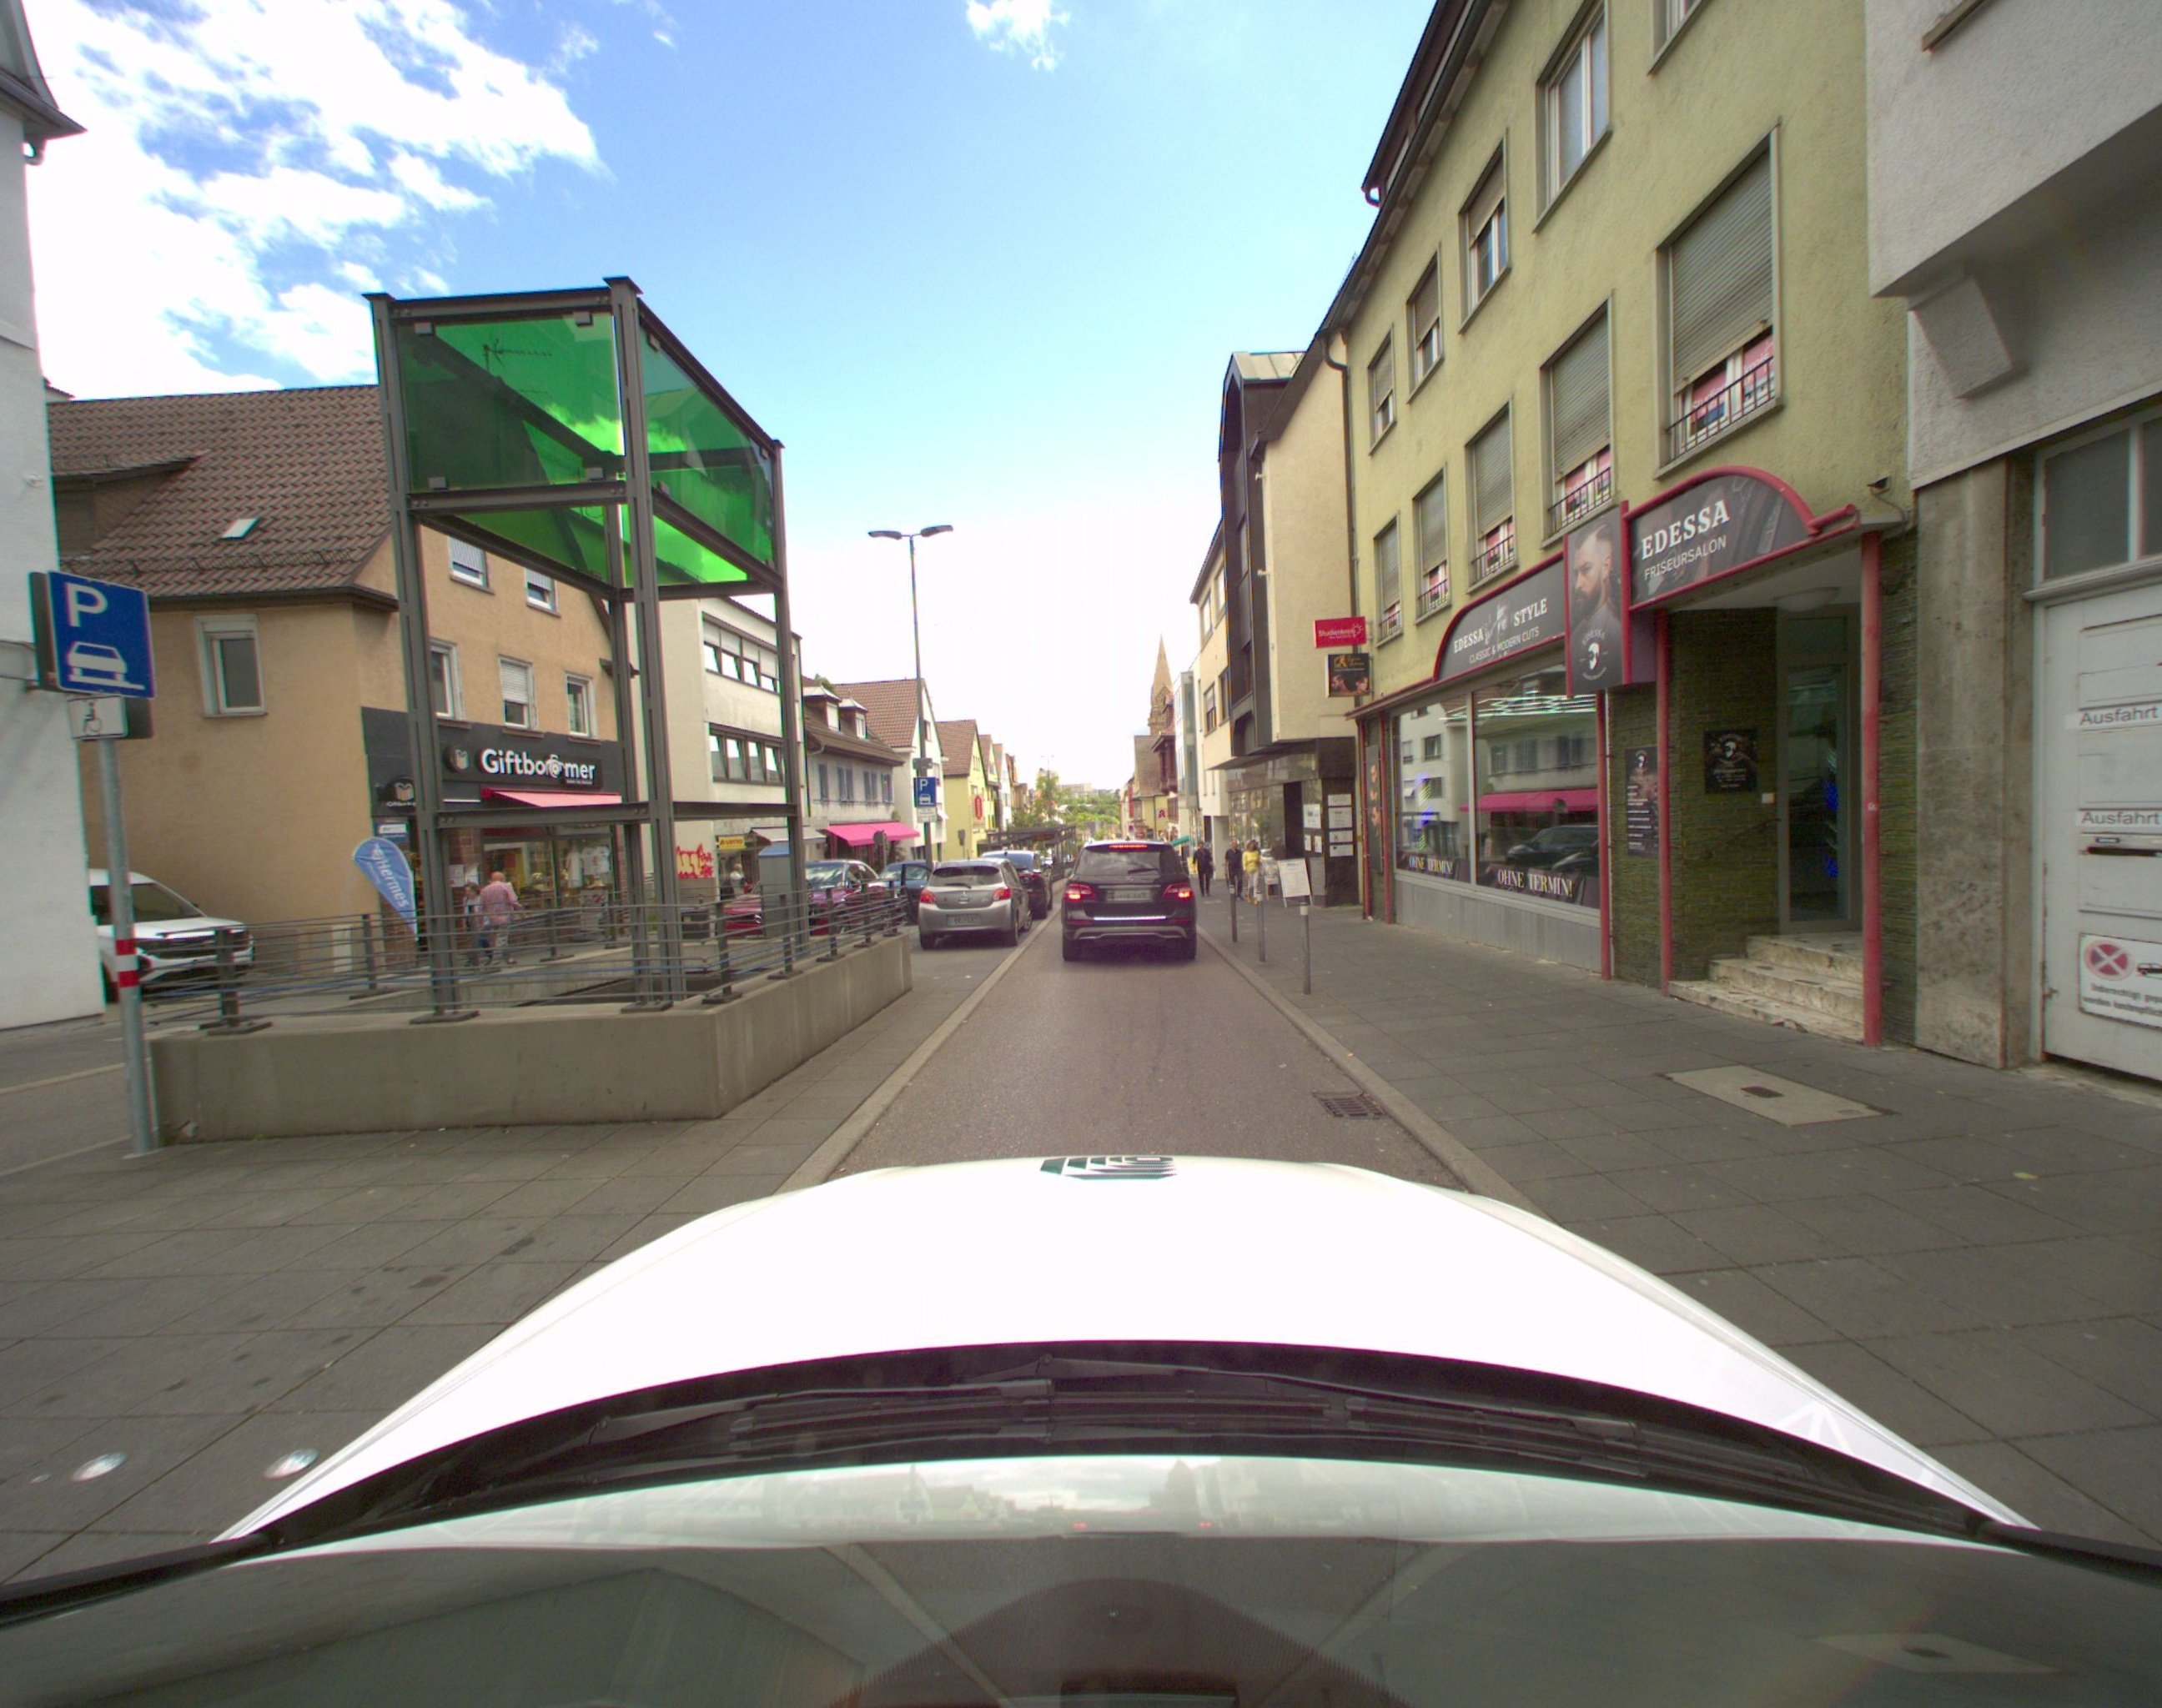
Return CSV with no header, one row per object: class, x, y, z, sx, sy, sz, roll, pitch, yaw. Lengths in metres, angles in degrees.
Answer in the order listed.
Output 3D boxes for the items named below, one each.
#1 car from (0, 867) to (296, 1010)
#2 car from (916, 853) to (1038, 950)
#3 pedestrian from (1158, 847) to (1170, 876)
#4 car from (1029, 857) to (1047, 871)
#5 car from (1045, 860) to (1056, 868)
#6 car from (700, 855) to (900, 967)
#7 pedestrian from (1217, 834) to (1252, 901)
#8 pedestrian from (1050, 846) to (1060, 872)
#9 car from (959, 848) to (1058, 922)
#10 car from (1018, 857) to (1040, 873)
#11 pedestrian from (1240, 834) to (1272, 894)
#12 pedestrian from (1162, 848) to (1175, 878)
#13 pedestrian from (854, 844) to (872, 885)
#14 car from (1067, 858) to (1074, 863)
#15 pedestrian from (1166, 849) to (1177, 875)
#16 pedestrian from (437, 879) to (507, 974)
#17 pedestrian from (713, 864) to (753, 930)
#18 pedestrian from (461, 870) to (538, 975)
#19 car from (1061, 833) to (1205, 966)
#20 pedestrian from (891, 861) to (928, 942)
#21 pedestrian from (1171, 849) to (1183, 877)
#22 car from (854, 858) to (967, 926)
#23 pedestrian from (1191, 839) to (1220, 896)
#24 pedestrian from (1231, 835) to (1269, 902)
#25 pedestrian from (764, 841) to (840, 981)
car,-14.748,1.219,12.265,4.053,1.873,1.885,-2,0,3
car,-1.754,0.763,14.805,1.614,1.532,3.671,-1,0,2
pedestrian,5.079,0.447,49.785,0.541,1.726,0.527,-3,0,-5
car,-4.922,1.116,93.912,1.654,1.490,3.749,-1,0,2
car,-4.348,1.439,116.471,1.383,1.070,3.114,-3,0,2
car,-4.395,0.803,13.494,1.732,1.543,4.195,-1,0,2
pedestrian,4.224,0.367,22.508,0.708,1.753,0.785,-4,0,1
pedestrian,-1.712,0.339,53.258,0.610,1.689,0.563,-1,0,0
car,-1.692,0.695,20.488,1.949,1.639,4.316,-1,0,2
car,-4.902,1.000,76.762,1.683,1.490,3.981,-1,0,2
pedestrian,5.155,0.291,24.025,0.662,1.689,0.542,-6,0,-5
pedestrian,4.937,0.487,46.174,0.620,1.689,0.565,-1,0,-5
pedestrian,-9.228,0.450,34.430,0.576,1.689,0.577,-1,0,1
car,-2.511,1.521,190.171,1.383,1.070,3.114,-3,0,2
pedestrian,5.788,0.510,51.882,0.572,1.689,0.565,-1,0,-5
pedestrian,-10.672,1.253,14.290,0.563,1.573,0.717,-4,0,2
pedestrian,-9.204,1.121,21.537,0.638,1.689,0.670,-2,1,41
pedestrian,-9.783,1.133,13.723,0.636,1.689,0.829,-2,0,6
car,0.702,0.607,12.810,1.894,1.747,3.999,-1,0,0
pedestrian,-3.122,0.856,14.855,0.464,1.431,0.492,-4,0,1
pedestrian,6.014,0.581,51.012,0.572,1.689,0.565,-4,0,-5
car,-4.122,0.864,20.279,1.731,1.475,3.889,0,1,4
pedestrian,3.924,0.419,25.729,0.708,1.753,0.787,-4,0,1
pedestrian,4.280,0.364,20.673,0.708,1.631,0.835,-4,0,1
pedestrian,-3.477,0.680,10.211,0.531,1.672,0.902,-2,0,5
